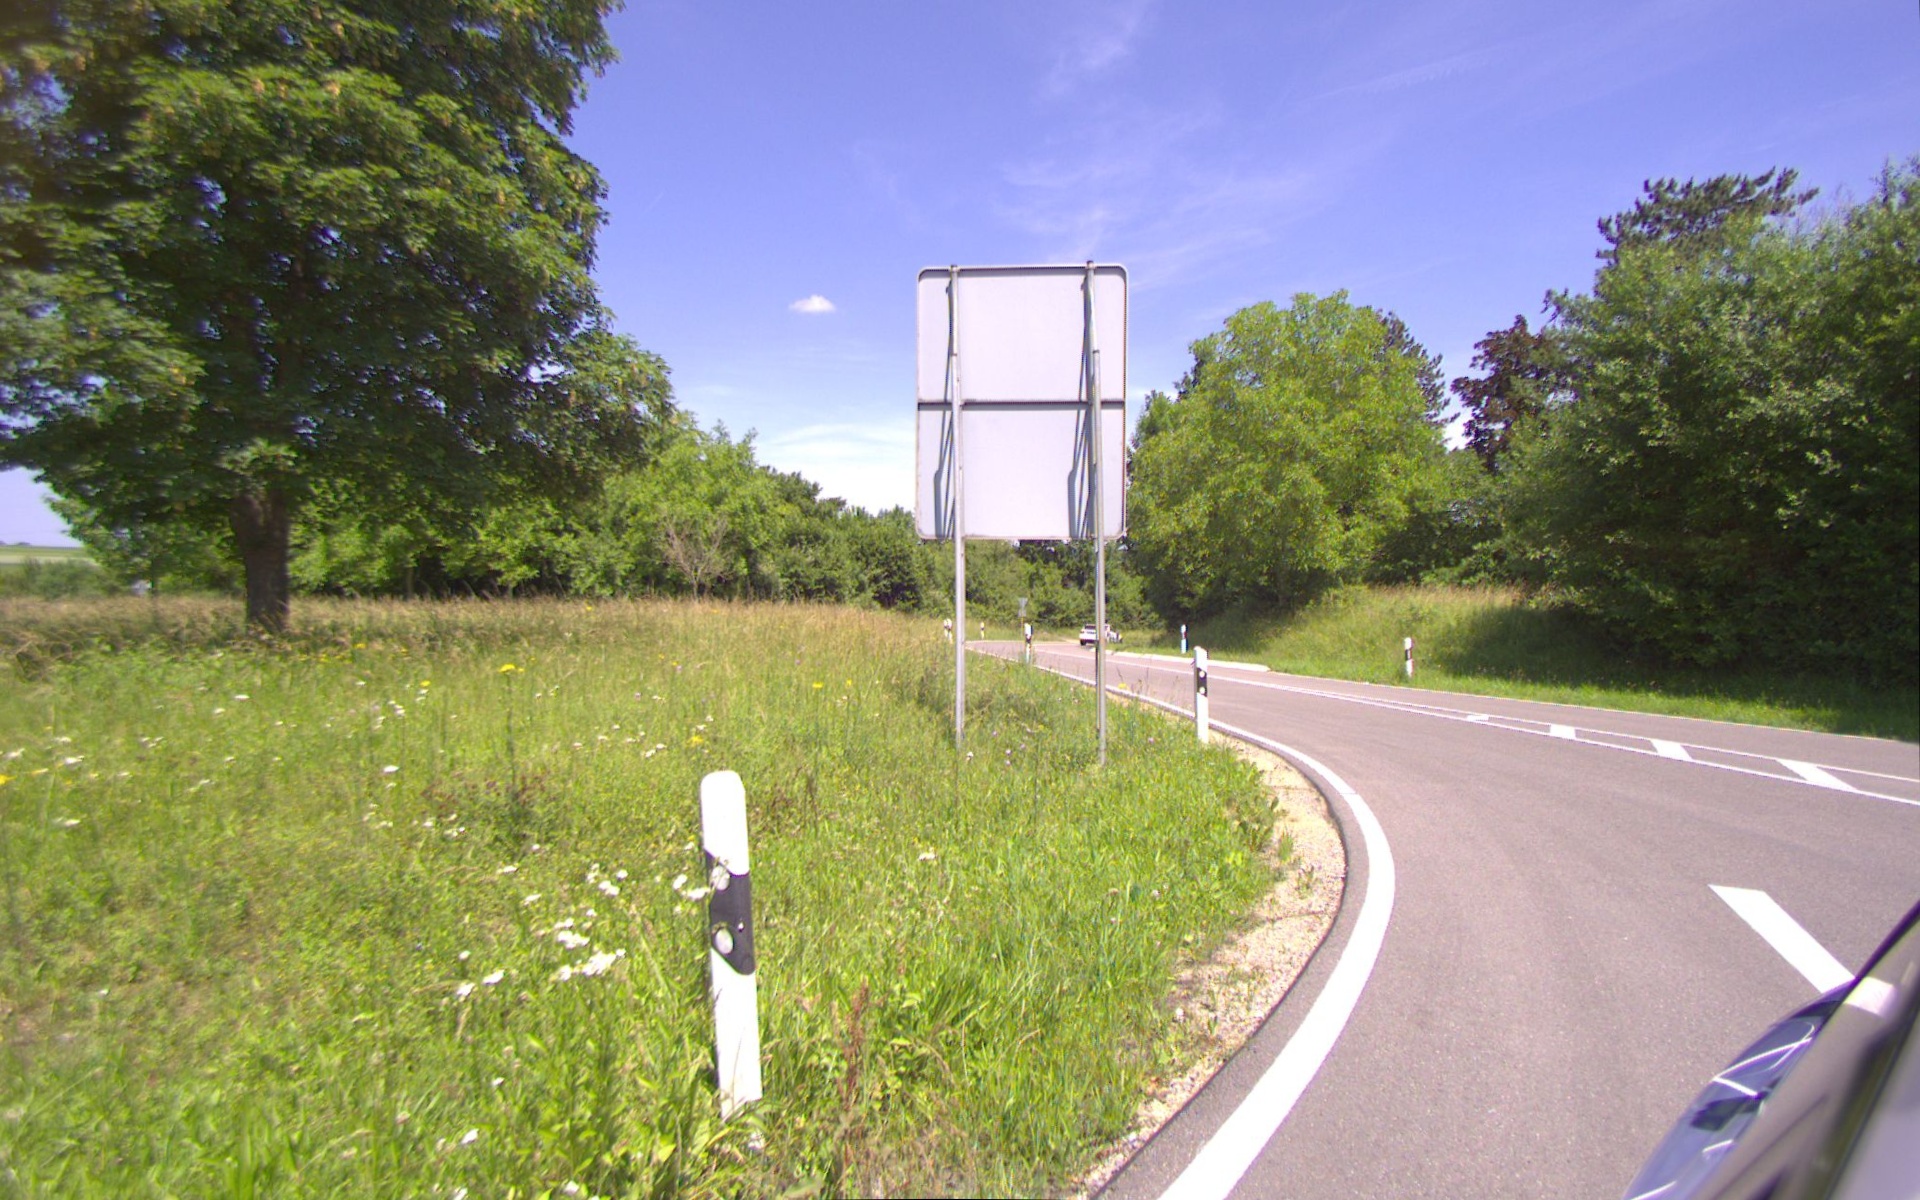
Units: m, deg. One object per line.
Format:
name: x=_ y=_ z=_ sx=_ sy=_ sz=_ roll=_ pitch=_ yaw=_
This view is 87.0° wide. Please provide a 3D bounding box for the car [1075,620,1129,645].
car: x=9.174 y=2.101 z=64.952 sx=1.793 sy=1.431 sz=5.281 roll=1 pitch=-3 yaw=27
